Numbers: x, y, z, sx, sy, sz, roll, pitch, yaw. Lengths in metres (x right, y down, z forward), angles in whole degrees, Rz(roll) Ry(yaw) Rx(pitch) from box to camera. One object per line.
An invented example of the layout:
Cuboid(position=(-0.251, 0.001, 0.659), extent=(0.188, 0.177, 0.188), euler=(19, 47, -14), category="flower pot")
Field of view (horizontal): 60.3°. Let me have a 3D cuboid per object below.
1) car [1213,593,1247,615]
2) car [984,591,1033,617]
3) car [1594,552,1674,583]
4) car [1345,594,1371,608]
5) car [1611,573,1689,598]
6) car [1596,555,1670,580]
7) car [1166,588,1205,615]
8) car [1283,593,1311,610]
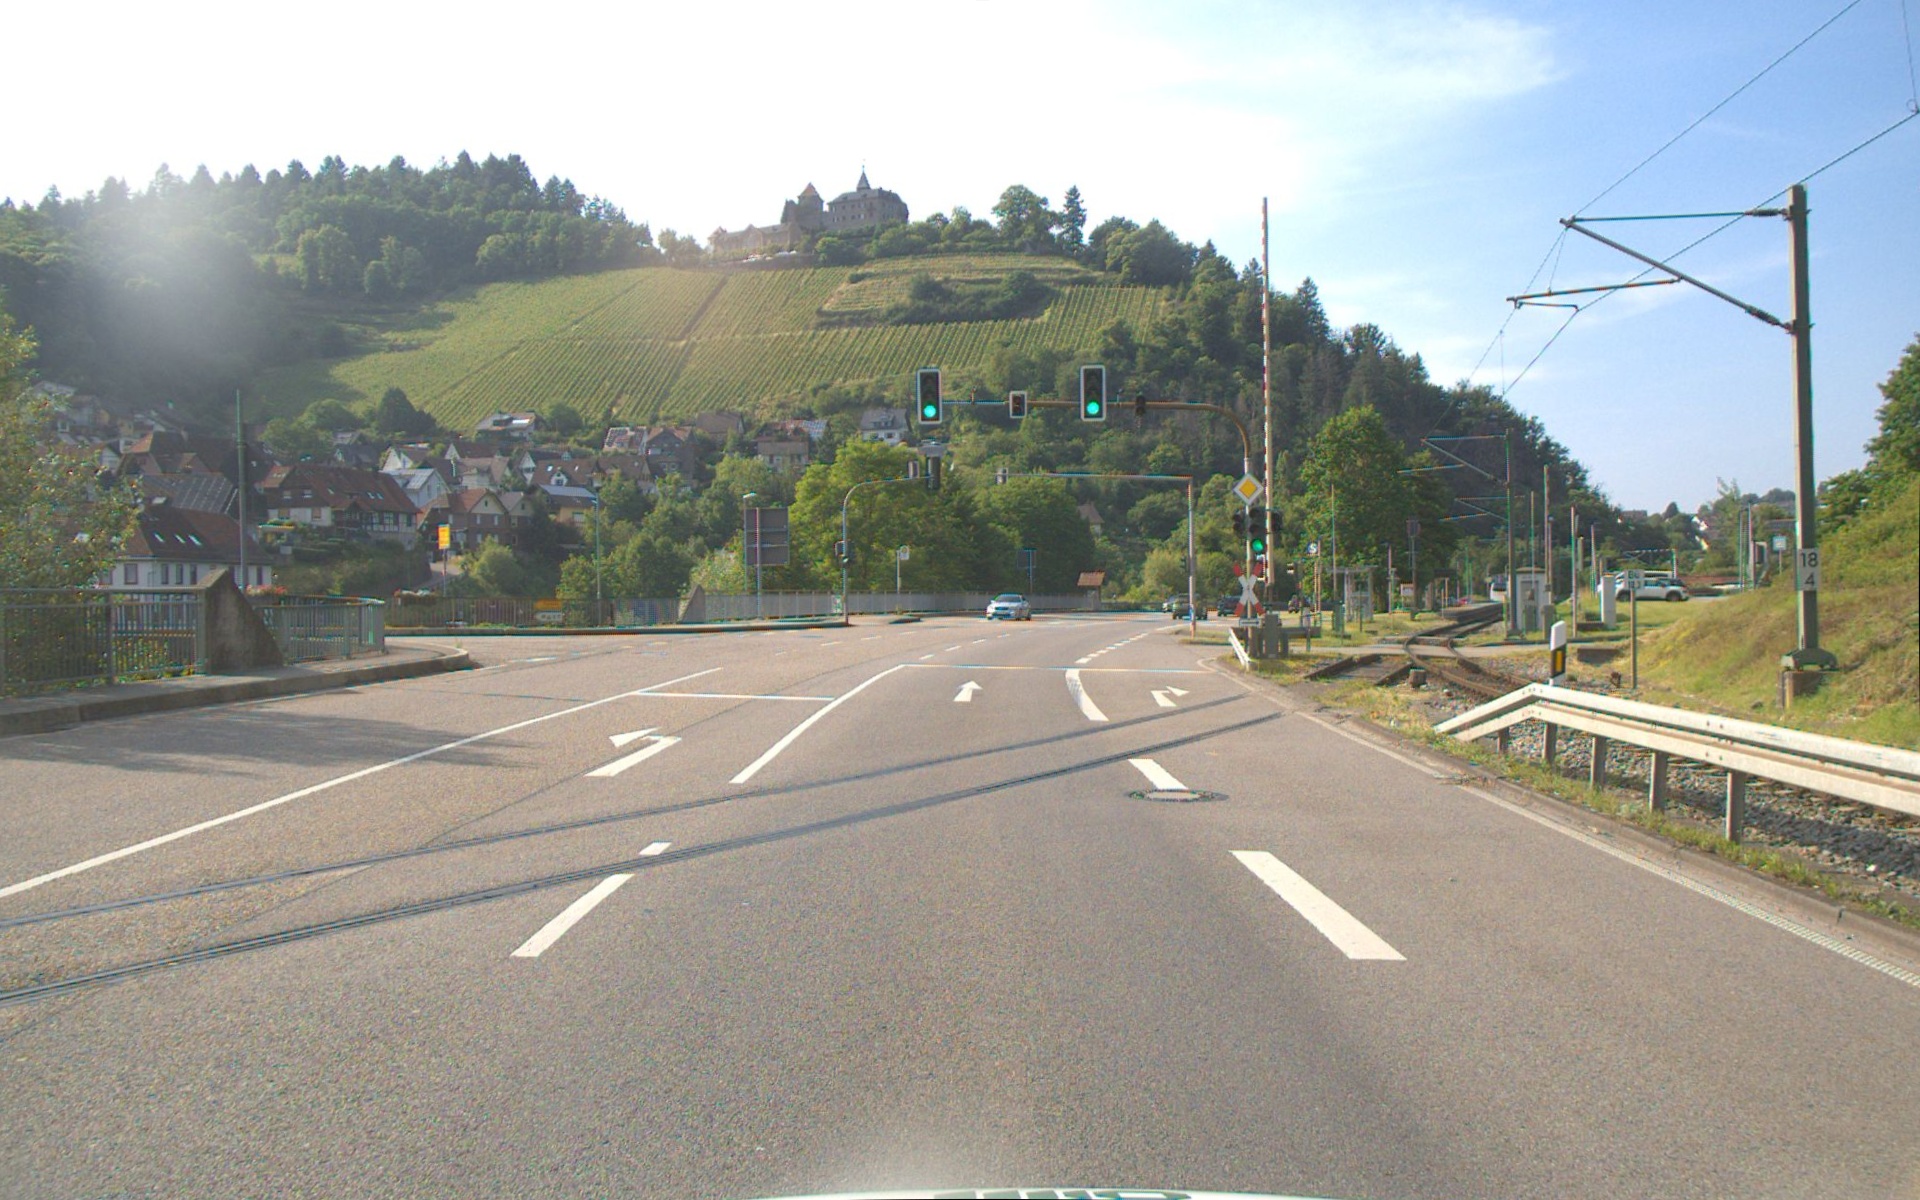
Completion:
Cuboid(position=(19.190, 0.267, 117.378), extent=(1.801, 1.485, 3.715), euler=(-2, -1, 17), category="car")
Cuboid(position=(2.517, 0.174, 84.458), extent=(1.610, 1.253, 4.097), euler=(0, 1, 15), category="car")
Cuboid(position=(45.016, -2.160, 110.576), extent=(4.849, 1.977, 2.141), euler=(0, 0, 21), category="car")
Cuboid(position=(40.878, 0.081, 169.772), extent=(1.773, 1.433, 3.769), euler=(-2, -1, 27), category="car")
Cuboid(position=(39.191, -0.818, 94.064), extent=(4.011, 1.422, 1.810), euler=(0, 0, 21), category="car")
Cuboid(position=(47.775, -2.299, 117.540), extent=(4.849, 1.720, 1.936), euler=(0, 0, 21), category="car")
Cuboid(position=(13.275, 0.110, 97.233), extent=(1.692, 1.482, 3.412), euler=(-2, -1, 16), category="car")
Cuboid(position=(30.348, 0.151, 149.029), extent=(1.770, 1.478, 3.646), euler=(-2, -1, 22), category="car")
